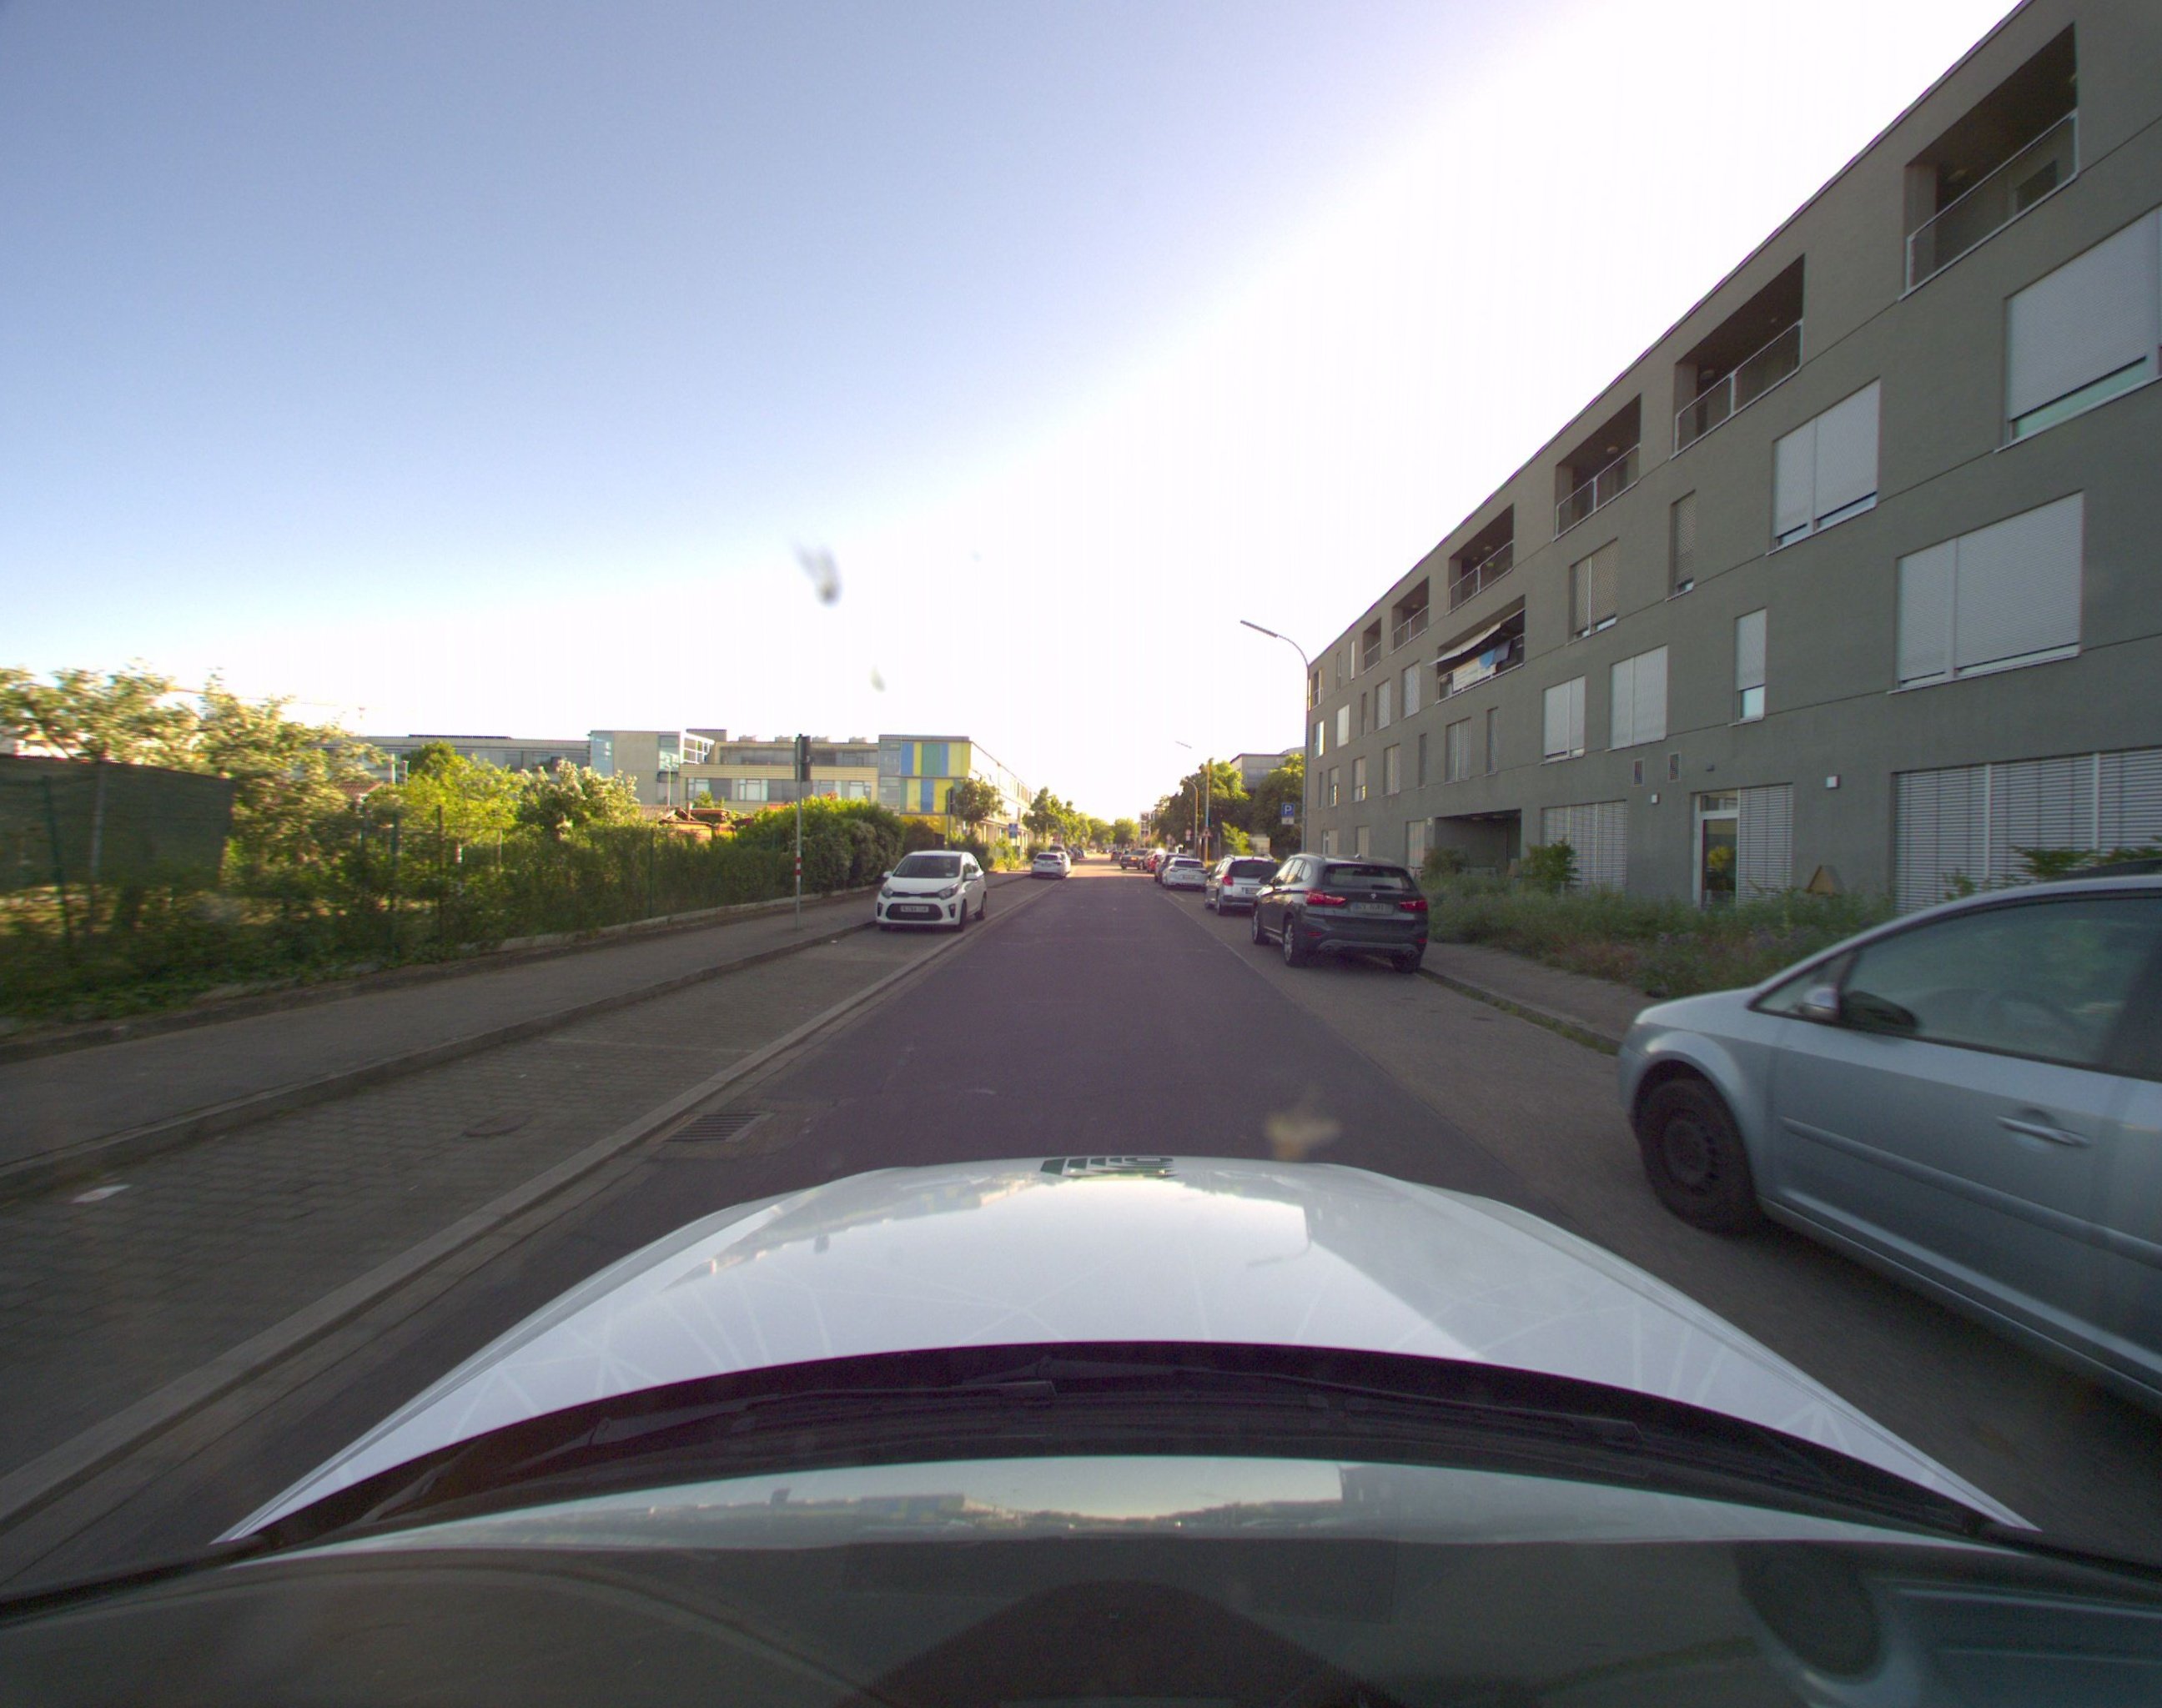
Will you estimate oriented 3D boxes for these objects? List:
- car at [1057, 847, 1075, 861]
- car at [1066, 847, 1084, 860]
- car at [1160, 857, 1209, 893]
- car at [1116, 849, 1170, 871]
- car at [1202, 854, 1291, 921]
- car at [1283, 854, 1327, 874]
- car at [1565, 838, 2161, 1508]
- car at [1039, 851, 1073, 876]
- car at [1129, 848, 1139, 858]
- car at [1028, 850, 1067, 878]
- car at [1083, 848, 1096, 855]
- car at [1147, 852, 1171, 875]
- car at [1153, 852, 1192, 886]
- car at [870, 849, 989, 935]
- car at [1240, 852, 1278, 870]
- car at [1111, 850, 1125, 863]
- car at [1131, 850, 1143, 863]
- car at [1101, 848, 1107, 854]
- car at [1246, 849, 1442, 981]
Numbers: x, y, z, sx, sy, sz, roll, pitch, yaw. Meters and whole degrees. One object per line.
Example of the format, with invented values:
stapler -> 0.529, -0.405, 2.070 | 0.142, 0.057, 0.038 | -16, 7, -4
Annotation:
car -> -1.744, 0.038, 97.009 | 1.847, 1.563, 4.136 | 3, 0, 2
car -> -0.751, -0.015, 105.263 | 1.845, 1.563, 4.142 | 3, 0, 7
car -> 4.571, 0.885, 36.540 | 1.735, 1.428, 4.136 | 3, 0, 2
car -> 5.074, 0.501, 66.579 | 4.214, 1.546, 1.829 | 3, 0, -39
car -> 4.281, 0.807, 21.592 | 1.651, 1.551, 3.852 | 3, 0, 2
car -> 18.392, 0.803, 66.914 | 3.201, 1.460, 1.452 | 3, 0, 4
car -> 3.480, 0.813, 2.360 | 1.670, 1.608, 4.180 | 3, 0, 1
car -> -1.571, 0.588, 52.833 | 1.847, 1.428, 4.136 | 3, 0, 2
car -> 8.658, -0.152, 132.562 | 1.440, 1.549, 3.615 | 3, 0, 1
car -> -1.815, 0.539, 45.521 | 1.847, 1.428, 4.136 | 3, 0, 2
car -> 2.289, -0.696, 220.233 | 3.594, 1.549, 1.448 | 3, 0, -4
car -> 5.624, 0.679, 58.951 | 1.440, 1.549, 3.615 | 3, 0, 1
car -> 4.730, 0.732, 42.550 | 1.627, 1.630, 3.615 | 3, 0, 1
car -> -2.893, 0.668, 16.304 | 1.554, 1.495, 3.760 | 1, 0, 2
car -> 16.412, 0.650, 75.080 | 3.201, 1.549, 1.452 | 3, 0, 4
car -> 4.838, 0.296, 107.838 | 1.683, 1.549, 3.615 | 3, 0, 1
car -> 7.362, 0.310, 107.162 | 1.440, 1.549, 3.615 | 3, 0, 1
car -> 6.036, -0.721, 212.829 | 1.658, 1.549, 3.903 | 3, 0, 1
car -> 3.822, 0.779, 12.602 | 1.735, 1.625, 4.180 | 3, 0, 2
